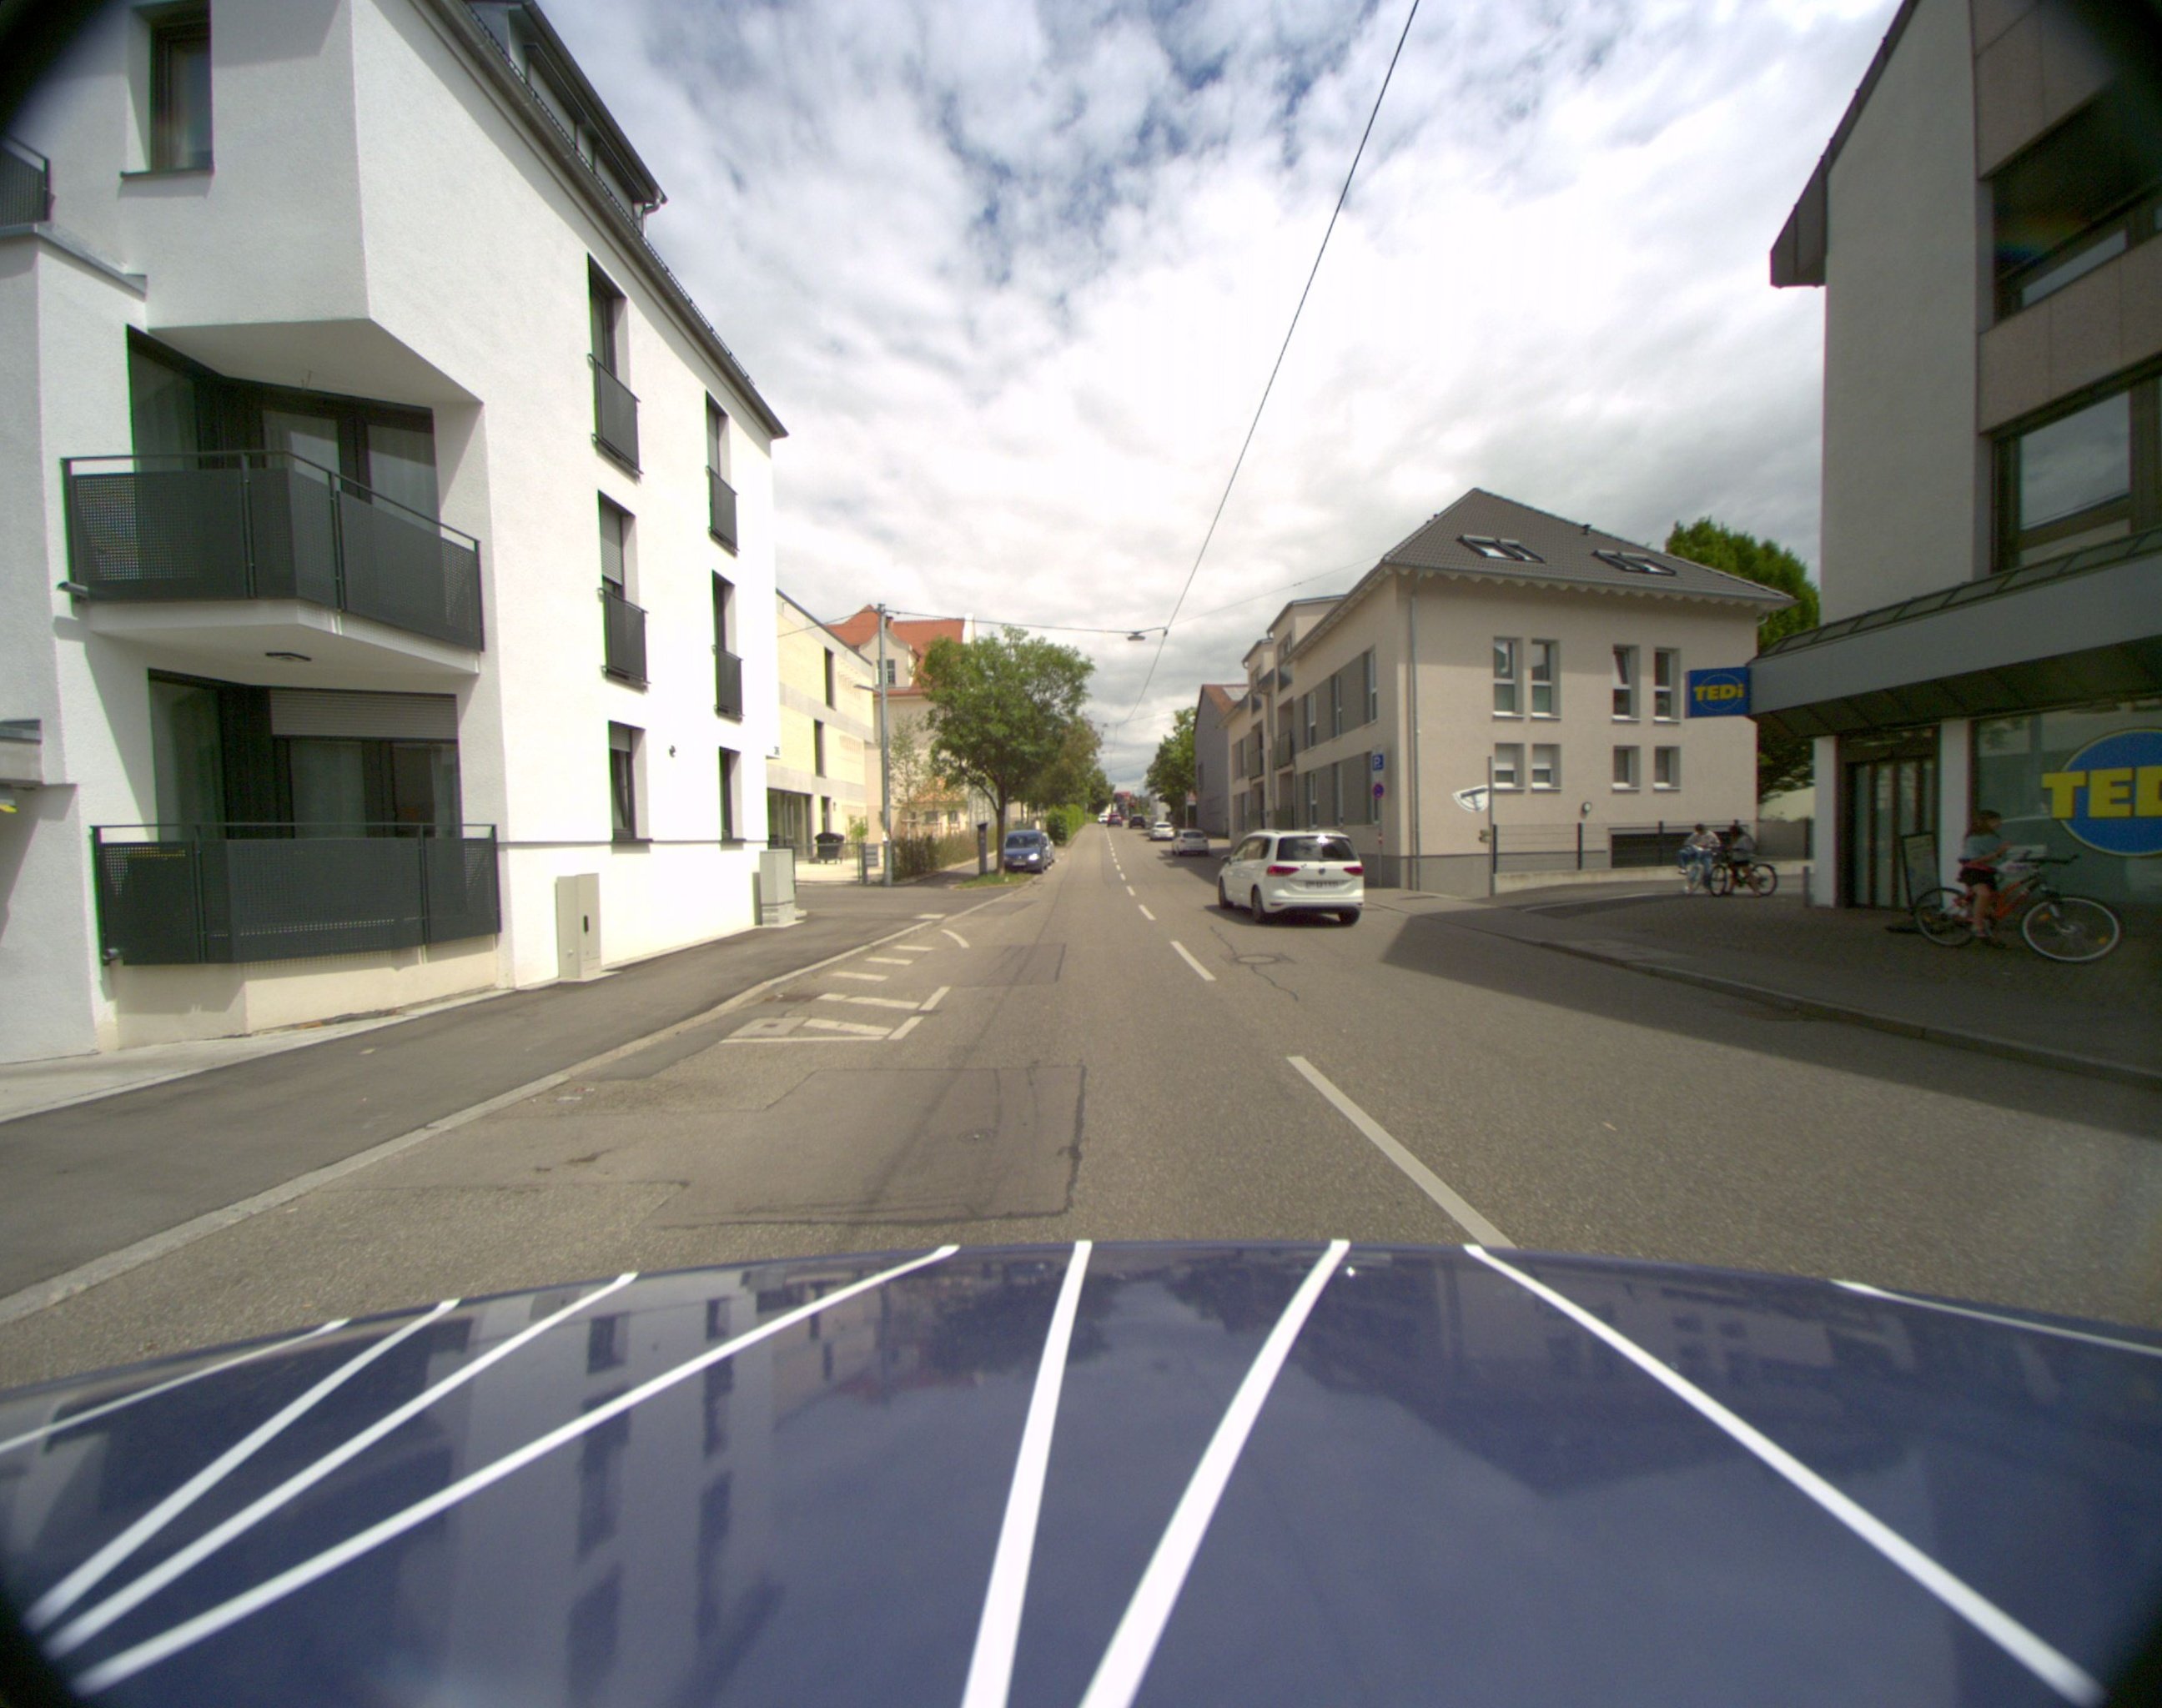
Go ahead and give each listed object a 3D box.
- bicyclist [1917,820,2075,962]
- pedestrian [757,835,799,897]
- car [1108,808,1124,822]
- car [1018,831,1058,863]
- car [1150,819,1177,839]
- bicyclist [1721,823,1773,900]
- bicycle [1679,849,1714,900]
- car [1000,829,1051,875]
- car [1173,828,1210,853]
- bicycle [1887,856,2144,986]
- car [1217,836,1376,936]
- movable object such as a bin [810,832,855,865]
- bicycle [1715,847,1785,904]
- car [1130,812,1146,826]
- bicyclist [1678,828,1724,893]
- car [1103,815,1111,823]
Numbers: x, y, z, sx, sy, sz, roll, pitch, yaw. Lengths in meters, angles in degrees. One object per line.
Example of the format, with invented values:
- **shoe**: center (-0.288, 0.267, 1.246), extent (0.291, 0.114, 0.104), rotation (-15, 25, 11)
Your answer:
- **bicyclist**: center (9.239, 0.347, 7.703), extent (0.669, 1.330, 0.761), rotation (-5, 3, 1)
- **pedestrian**: center (-8.640, 0.330, 21.708), extent (0.775, 1.694, 0.829), rotation (-2, 3, 0)
- **car**: center (4.680, -5.149, 101.463), extent (1.946, 1.709, 4.595), rotation (-1, 2, 0)
- **car**: center (-2.084, -0.360, 37.450), extent (1.677, 1.510, 3.669), rotation (0, 1, 1)
- **car**: center (6.476, -2.006, 60.008), extent (1.737, 1.480, 4.064), rotation (0, 4, 1)
- **bicyclist**: center (12.017, 0.138, 13.720), extent (0.425, 1.357, 0.587), rotation (-2, 0, -33)
- **bicycle**: center (11.962, 0.375, 14.785), extent (0.458, 0.912, 1.592), rotation (-1, 1, 37)
- **car**: center (-2.235, -0.134, 31.773), extent (1.698, 1.734, 4.158), rotation (-1, 2, 1)
- **car**: center (6.077, -0.736, 42.072), extent (1.665, 1.322, 3.473), rotation (0, 1, 1)
- **bicycle**: center (9.210, 0.600, 7.606), extent (0.444, 1.044, 1.733), rotation (-5, 2, 1)
- **car**: center (3.851, 0.467, 14.363), extent (1.779, 1.604, 4.118), rotation (0, 2, -1)
- **movable object such as a bin**: center (-11.340, -0.271, 34.790), extent (1.351, 1.439, 1.806), rotation (-2, 3, 2)
- **bicycle**: center (12.191, 0.369, 13.836), extent (1.694, 0.949, 0.554), rotation (-2, 1, -34)
- **car**: center (6.983, -4.313, 93.043), extent (1.672, 1.546, 3.963), rotation (0, 4, 1)
- **bicyclist**: center (12.041, 0.123, 14.769), extent (0.640, 1.235, 0.427), rotation (0, 4, 34)
- **car**: center (4.663, -6.182, 135.037), extent (1.298, 1.148, 2.983), rotation (-4, 0, 1)
